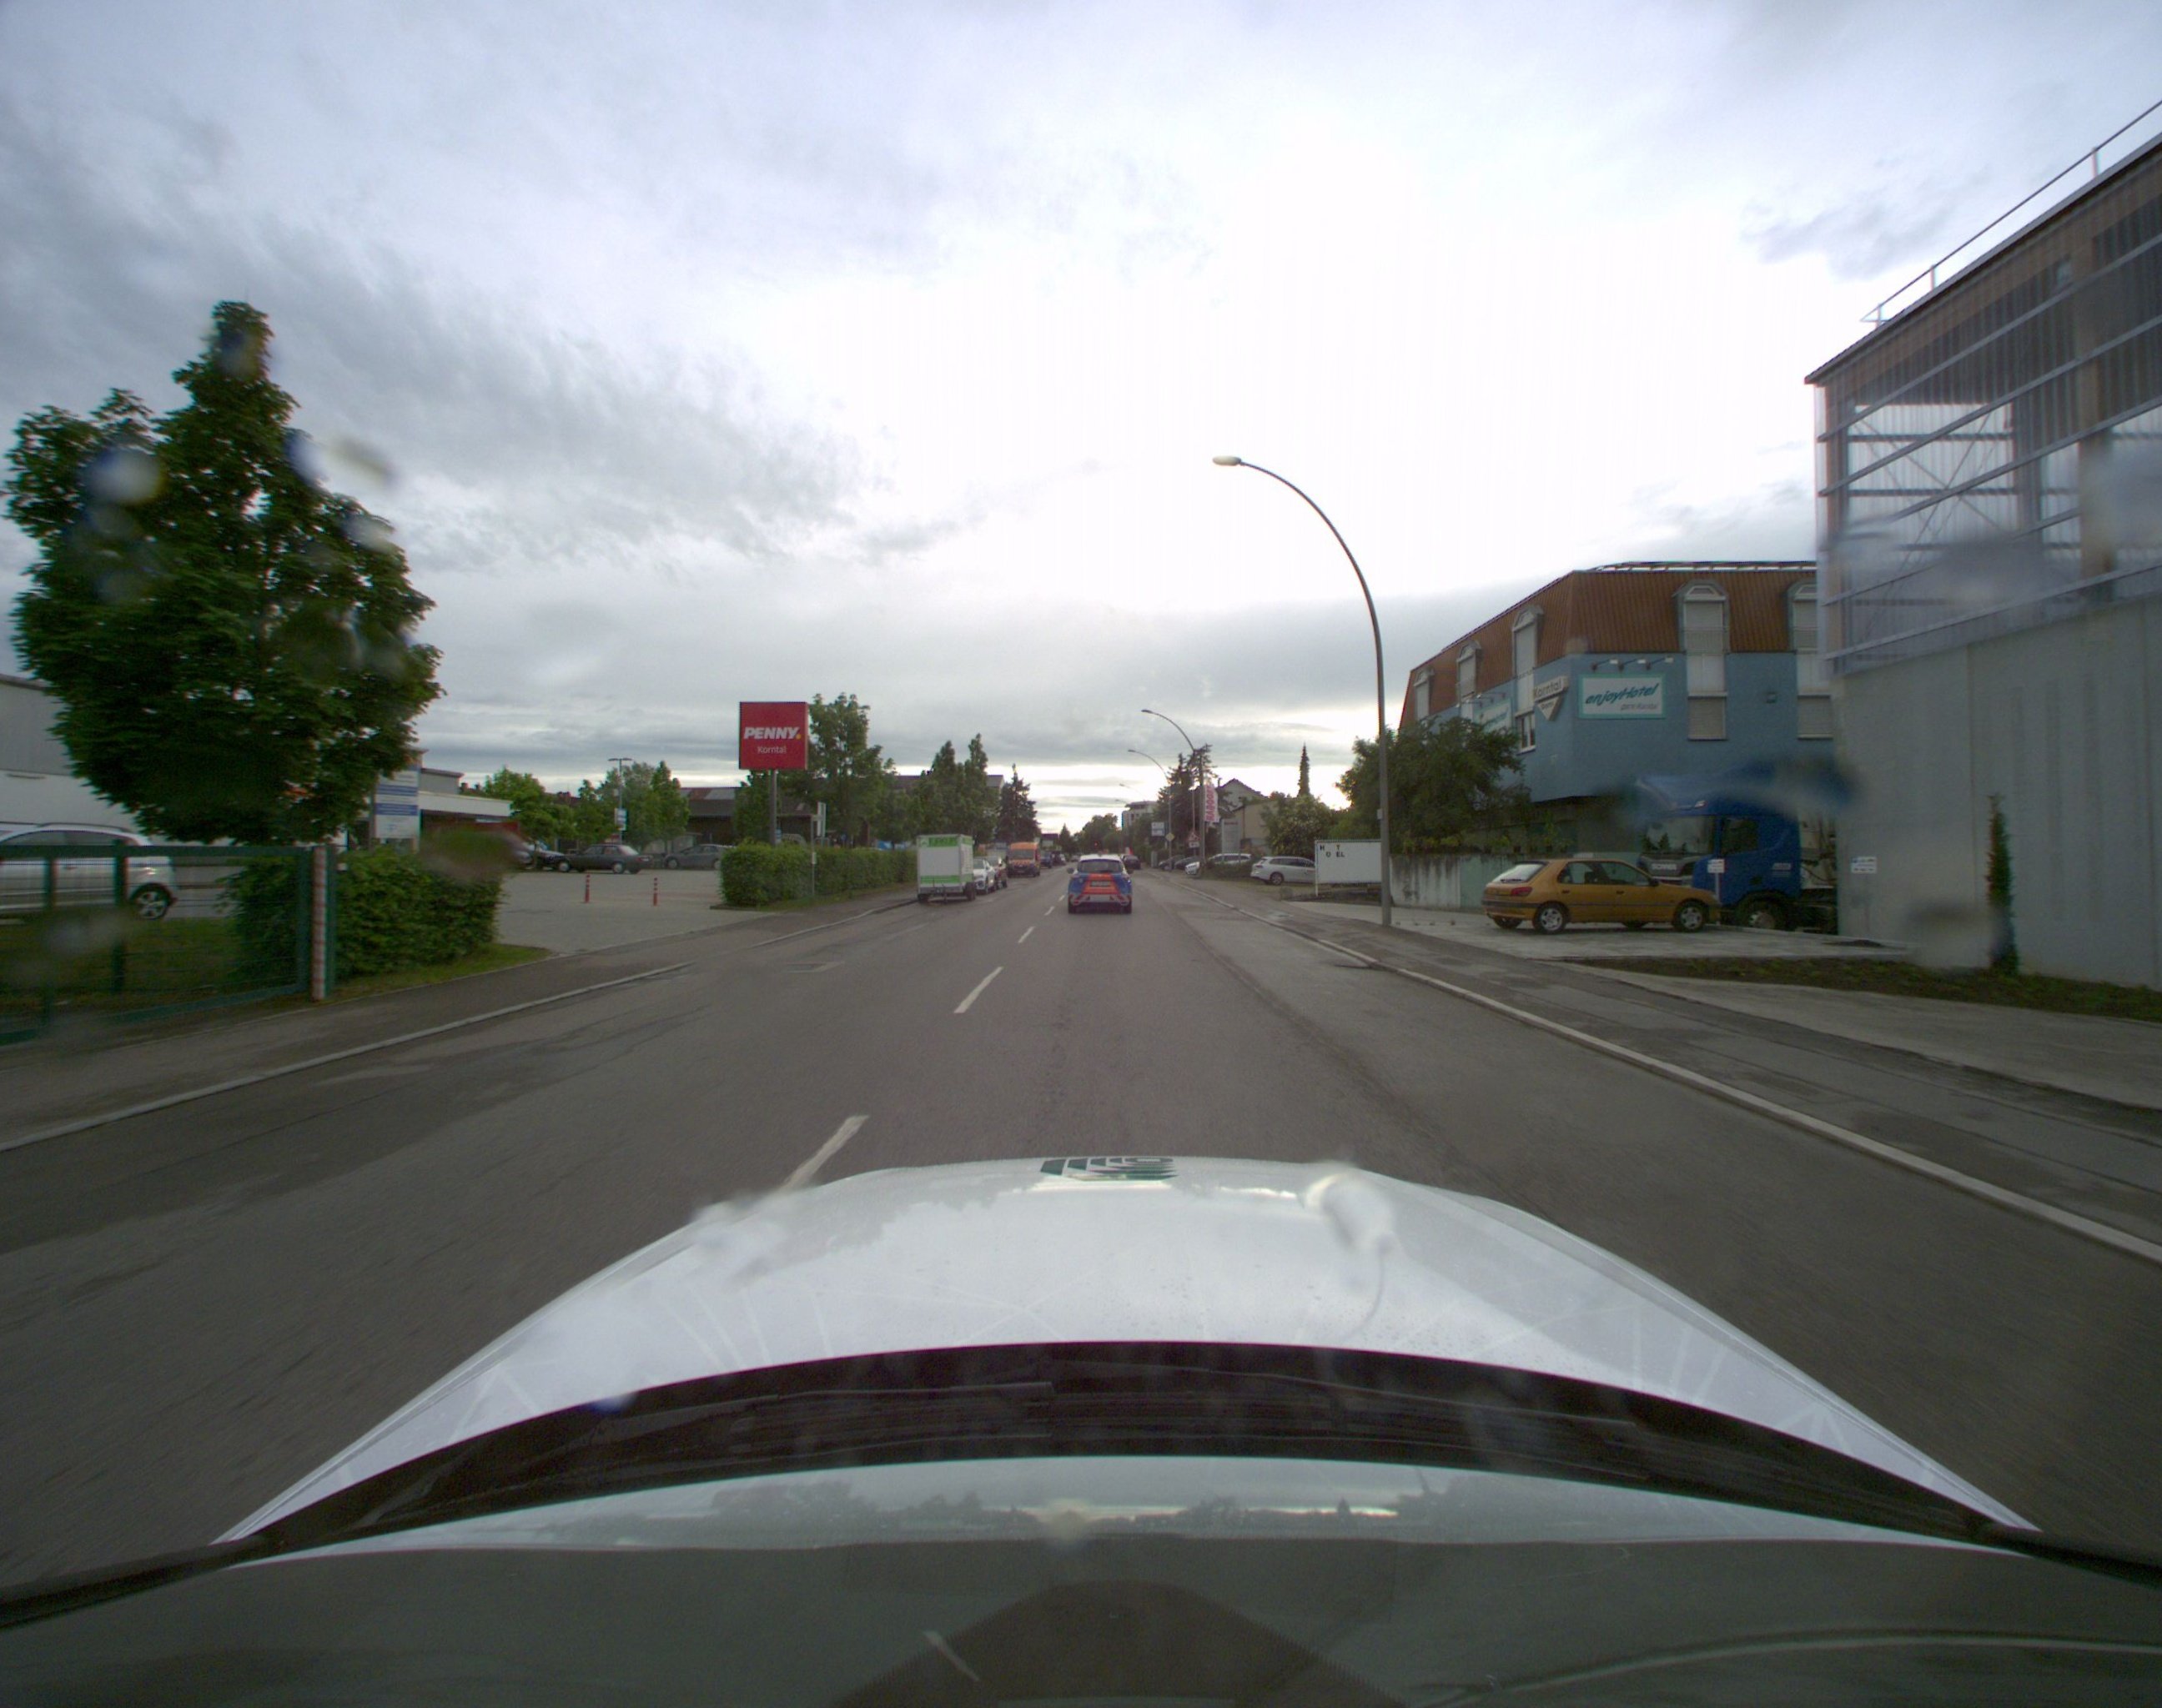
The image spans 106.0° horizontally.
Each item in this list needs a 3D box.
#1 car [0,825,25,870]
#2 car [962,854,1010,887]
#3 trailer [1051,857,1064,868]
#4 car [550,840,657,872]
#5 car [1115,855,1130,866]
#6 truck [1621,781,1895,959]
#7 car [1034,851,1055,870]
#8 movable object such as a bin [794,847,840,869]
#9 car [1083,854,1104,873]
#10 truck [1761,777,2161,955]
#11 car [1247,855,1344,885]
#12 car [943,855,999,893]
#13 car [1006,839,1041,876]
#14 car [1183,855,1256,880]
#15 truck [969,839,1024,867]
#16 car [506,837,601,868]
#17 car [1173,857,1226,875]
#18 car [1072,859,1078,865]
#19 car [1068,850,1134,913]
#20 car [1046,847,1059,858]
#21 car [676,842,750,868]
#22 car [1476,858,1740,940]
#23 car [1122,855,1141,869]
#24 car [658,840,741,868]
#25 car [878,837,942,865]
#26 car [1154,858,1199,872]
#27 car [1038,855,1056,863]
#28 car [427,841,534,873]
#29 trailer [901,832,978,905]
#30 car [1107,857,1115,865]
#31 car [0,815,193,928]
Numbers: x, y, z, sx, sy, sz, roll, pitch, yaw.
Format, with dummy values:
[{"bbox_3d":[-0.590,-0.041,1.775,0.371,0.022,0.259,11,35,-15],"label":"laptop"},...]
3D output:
[{"bbox_3d":[-40.457,-0.283,28.932,3.712,1.606,1.660,1,-1,1],"label":"car"},{"bbox_3d":[-4.638,0.775,40.358,1.799,1.573,4.342,0,0,0],"label":"car"},{"bbox_3d":[-3.143,1.126,109.170,1.712,1.260,5.243,1,1,-1],"label":"trailer"},{"bbox_3d":[-22.941,0.118,39.244,3.968,1.387,1.801,1,-1,-4],"label":"car"},{"bbox_3d":[5.770,0.888,114.075,1.707,1.438,4.523,1,-1,-1],"label":"car"},{"bbox_3d":[15.794,0.364,19.246,4.133,3.673,2.718,3,-1,-2],"label":"truck"},{"bbox_3d":[-4.048,0.735,91.341,1.987,1.947,5.365,1,-1,0],"label":"car"},{"bbox_3d":[-22.783,0.348,70.418,3.417,1.760,1.996,1,-1,-6],"label":"movable object such as a bin"},{"bbox_3d":[1.059,0.803,70.487,1.645,1.522,3.998,1,-1,-1],"label":"car"},{"bbox_3d":[21.540,0.326,19.401,8.510,3.707,2.721,2,-1,-1],"label":"truck"},{"bbox_3d":[10.805,0.822,41.247,4.401,1.393,1.880,1,-1,0],"label":"car"},{"bbox_3d":[-4.633,0.812,34.734,1.766,1.498,4.137,0,0,0],"label":"car"},{"bbox_3d":[-4.150,0.245,59.894,2.117,2.537,6.022,0,0,0],"label":"car"},{"bbox_3d":[8.747,0.860,51.767,4.324,1.475,1.902,1,-1,0],"label":"car"},{"bbox_3d":[-9.774,-0.115,94.615,5.890,3.073,2.450,1,-1,1],"label":"truck"},{"bbox_3d":[-29.175,-0.069,45.168,3.982,1.606,1.768,1,-1,-7],"label":"car"},{"bbox_3d":[9.414,0.959,65.000,3.971,1.266,1.952,1,-1,2],"label":"car"},{"bbox_3d":[-1.481,1.952,195.199,1.382,1.483,3.782,0,0,-1],"label":"car"},{"bbox_3d":[0.530,0.736,22.862,1.726,1.631,3.494,0,-1,0],"label":"car"},{"bbox_3d":[-3.965,-0.253,115.142,1.552,1.433,4.001,1,-1,1],"label":"car"},{"bbox_3d":[-23.316,0.075,51.663,3.882,1.520,1.692,1,-1,-4],"label":"car"},{"bbox_3d":[9.846,0.809,15.410,3.975,1.430,1.630,1,0,-1],"label":"car"},{"bbox_3d":[5.045,0.817,82.097,1.585,1.341,4.091,2,0,-1],"label":"car"},{"bbox_3d":[-22.908,0.037,49.052,4.046,1.551,1.883,1,-1,-4],"label":"car"},{"bbox_3d":[-12.828,-0.207,61.199,4.291,2.014,2.063,1,-1,1],"label":"car"},{"bbox_3d":[8.988,1.024,76.682,3.975,1.266,1.950,1,-1,-1],"label":"car"},{"bbox_3d":[-7.046,1.079,169.950,3.751,1.576,1.653,1,-1,-4],"label":"car"},{"bbox_3d":[-28.787,0.141,39.118,3.883,1.496,1.452,1,0,-6],"label":"car"},{"bbox_3d":[-4.909,0.467,28.947,1.807,2.314,4.730,-2,0,0],"label":"trailer"},{"bbox_3d":[6.798,1.595,184.395,1.645,1.672,3.998,1,-1,-1],"label":"car"},{"bbox_3d":[-16.126,0.266,12.117,1.643,1.587,4.036,-1,-1,-6],"label":"car"}]
